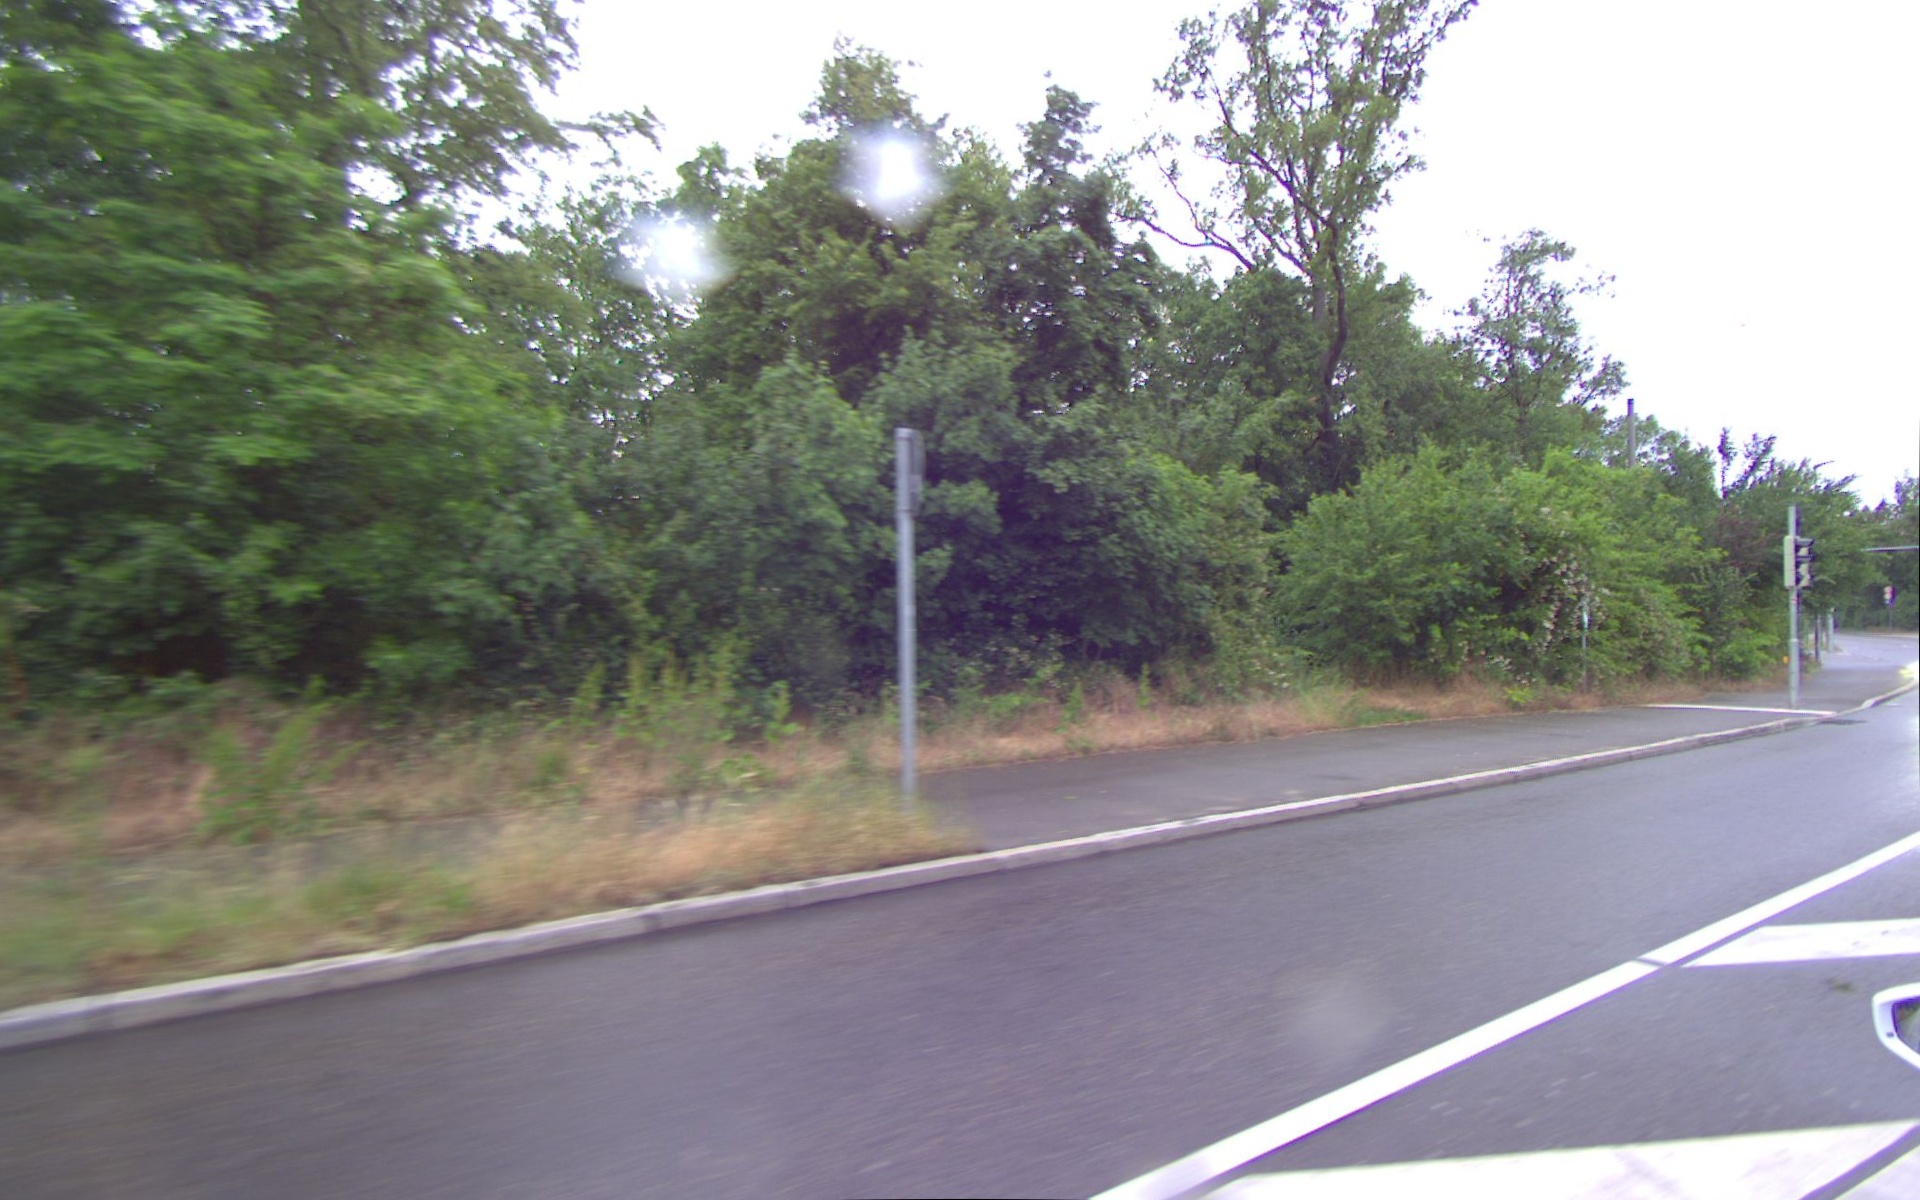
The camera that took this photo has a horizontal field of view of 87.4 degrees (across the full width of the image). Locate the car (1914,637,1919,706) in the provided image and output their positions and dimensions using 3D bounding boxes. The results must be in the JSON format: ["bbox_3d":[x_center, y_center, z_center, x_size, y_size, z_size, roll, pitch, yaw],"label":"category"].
[{"bbox_3d":[21.041,1.375,20.426,4.326,1.328,1.976,1,-4,-42],"label":"car"}]
